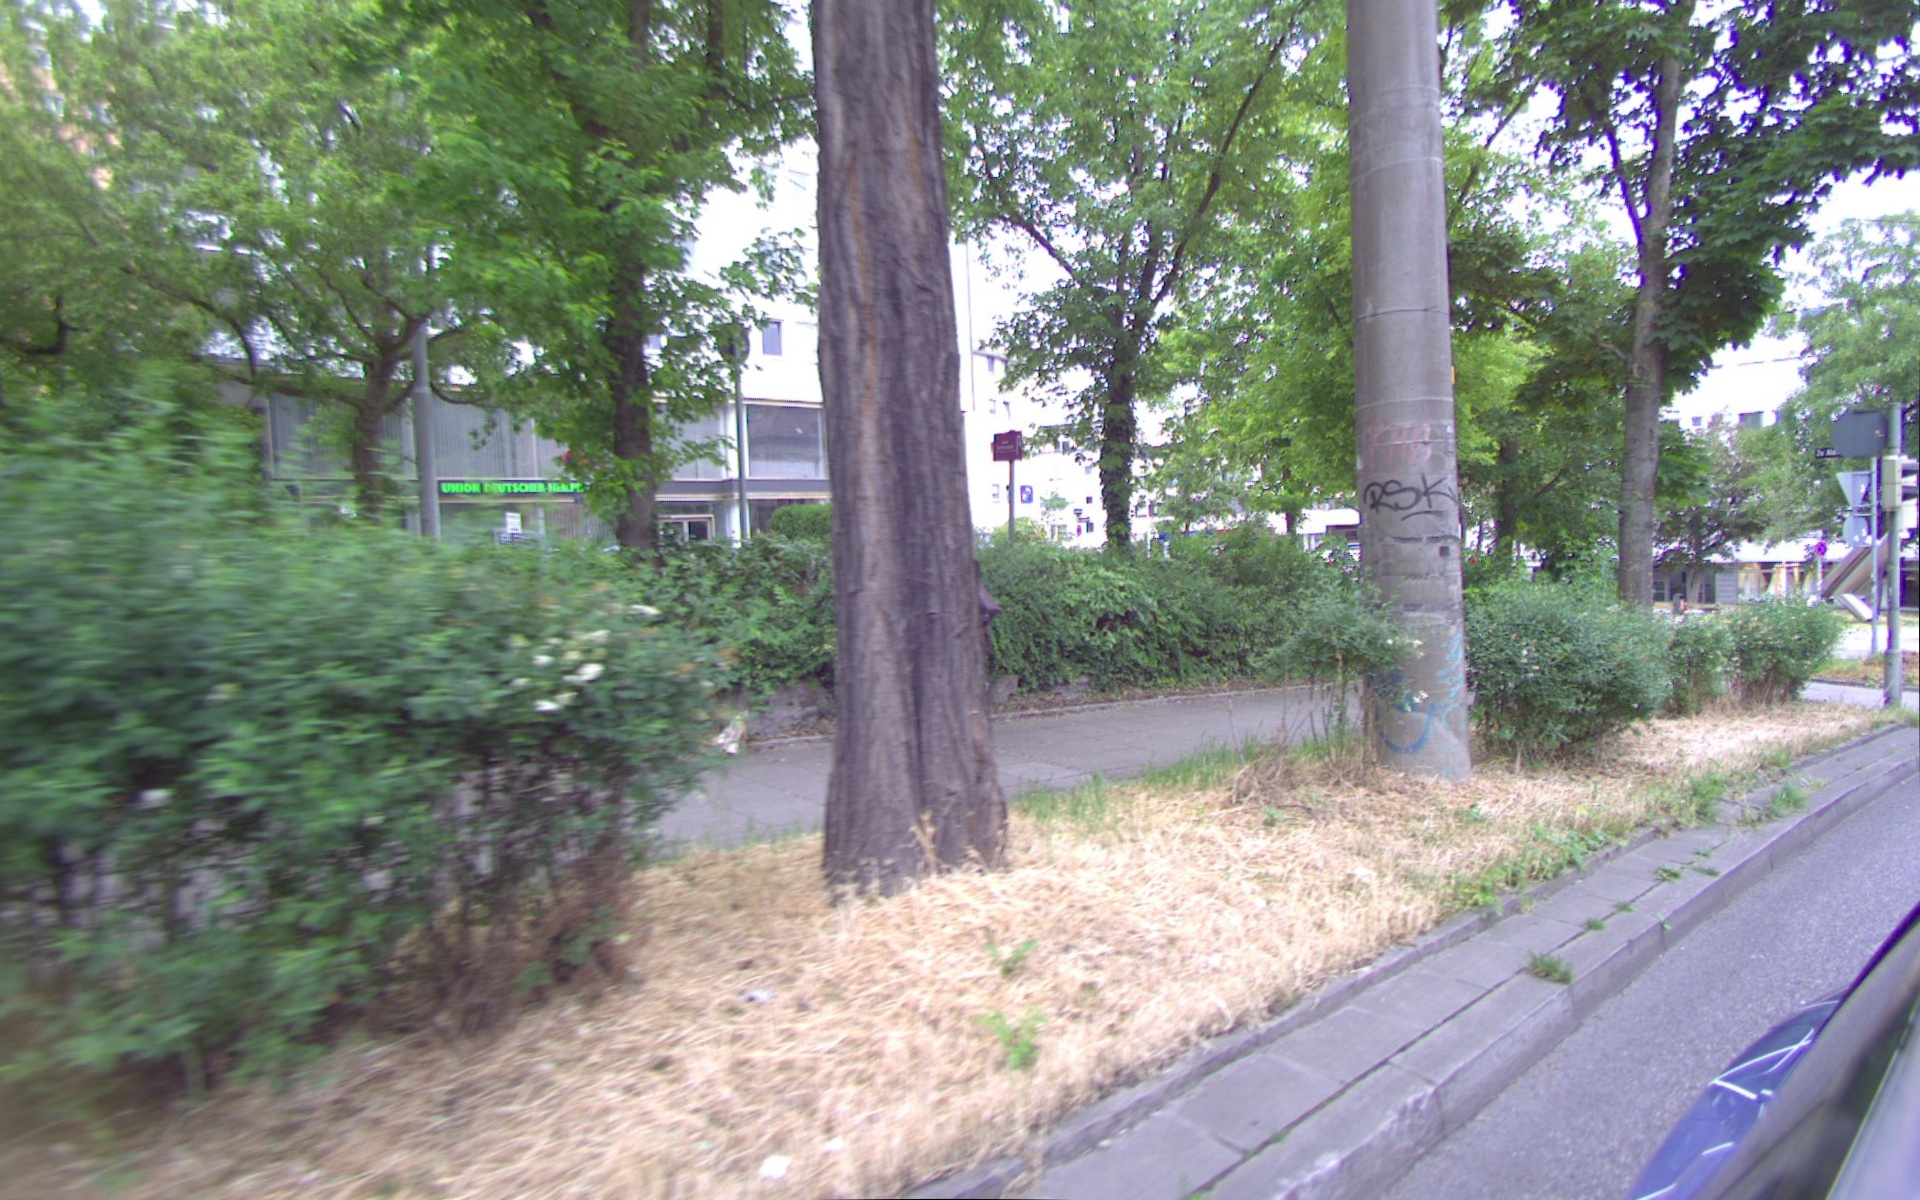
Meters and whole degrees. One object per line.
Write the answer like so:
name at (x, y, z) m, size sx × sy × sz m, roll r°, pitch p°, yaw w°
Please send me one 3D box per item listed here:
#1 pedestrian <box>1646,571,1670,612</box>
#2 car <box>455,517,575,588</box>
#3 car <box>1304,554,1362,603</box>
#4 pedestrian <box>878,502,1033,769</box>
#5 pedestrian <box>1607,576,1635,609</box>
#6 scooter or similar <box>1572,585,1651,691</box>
pedestrian at (27.915, -0.351, 40.468) m, size 0.721 × 1.622 × 0.784 m, roll 1°, pitch 1°, yaw 32°
car at (-11.132, -1.216, 25.189) m, size 1.800 × 1.589 × 4.000 m, roll 0°, pitch 4°, yaw -38°
car at (18.142, -1.052, 49.115) m, size 2.106 × 2.241 × 4.849 m, roll 1°, pitch 1°, yaw 26°
pedestrian at (-0.038, 0.219, 7.078) m, size 0.770 × 1.724 × 0.774 m, roll 0°, pitch 1°, yaw -37°
pedestrian at (26.677, -0.309, 40.858) m, size 0.671 × 1.308 × 0.657 m, roll 0°, pitch 1°, yaw -26°
scooter or similar at (8.127, 0.432, 12.603) m, size 0.629 × 1.225 × 1.535 m, roll 1°, pitch 2°, yaw 40°
